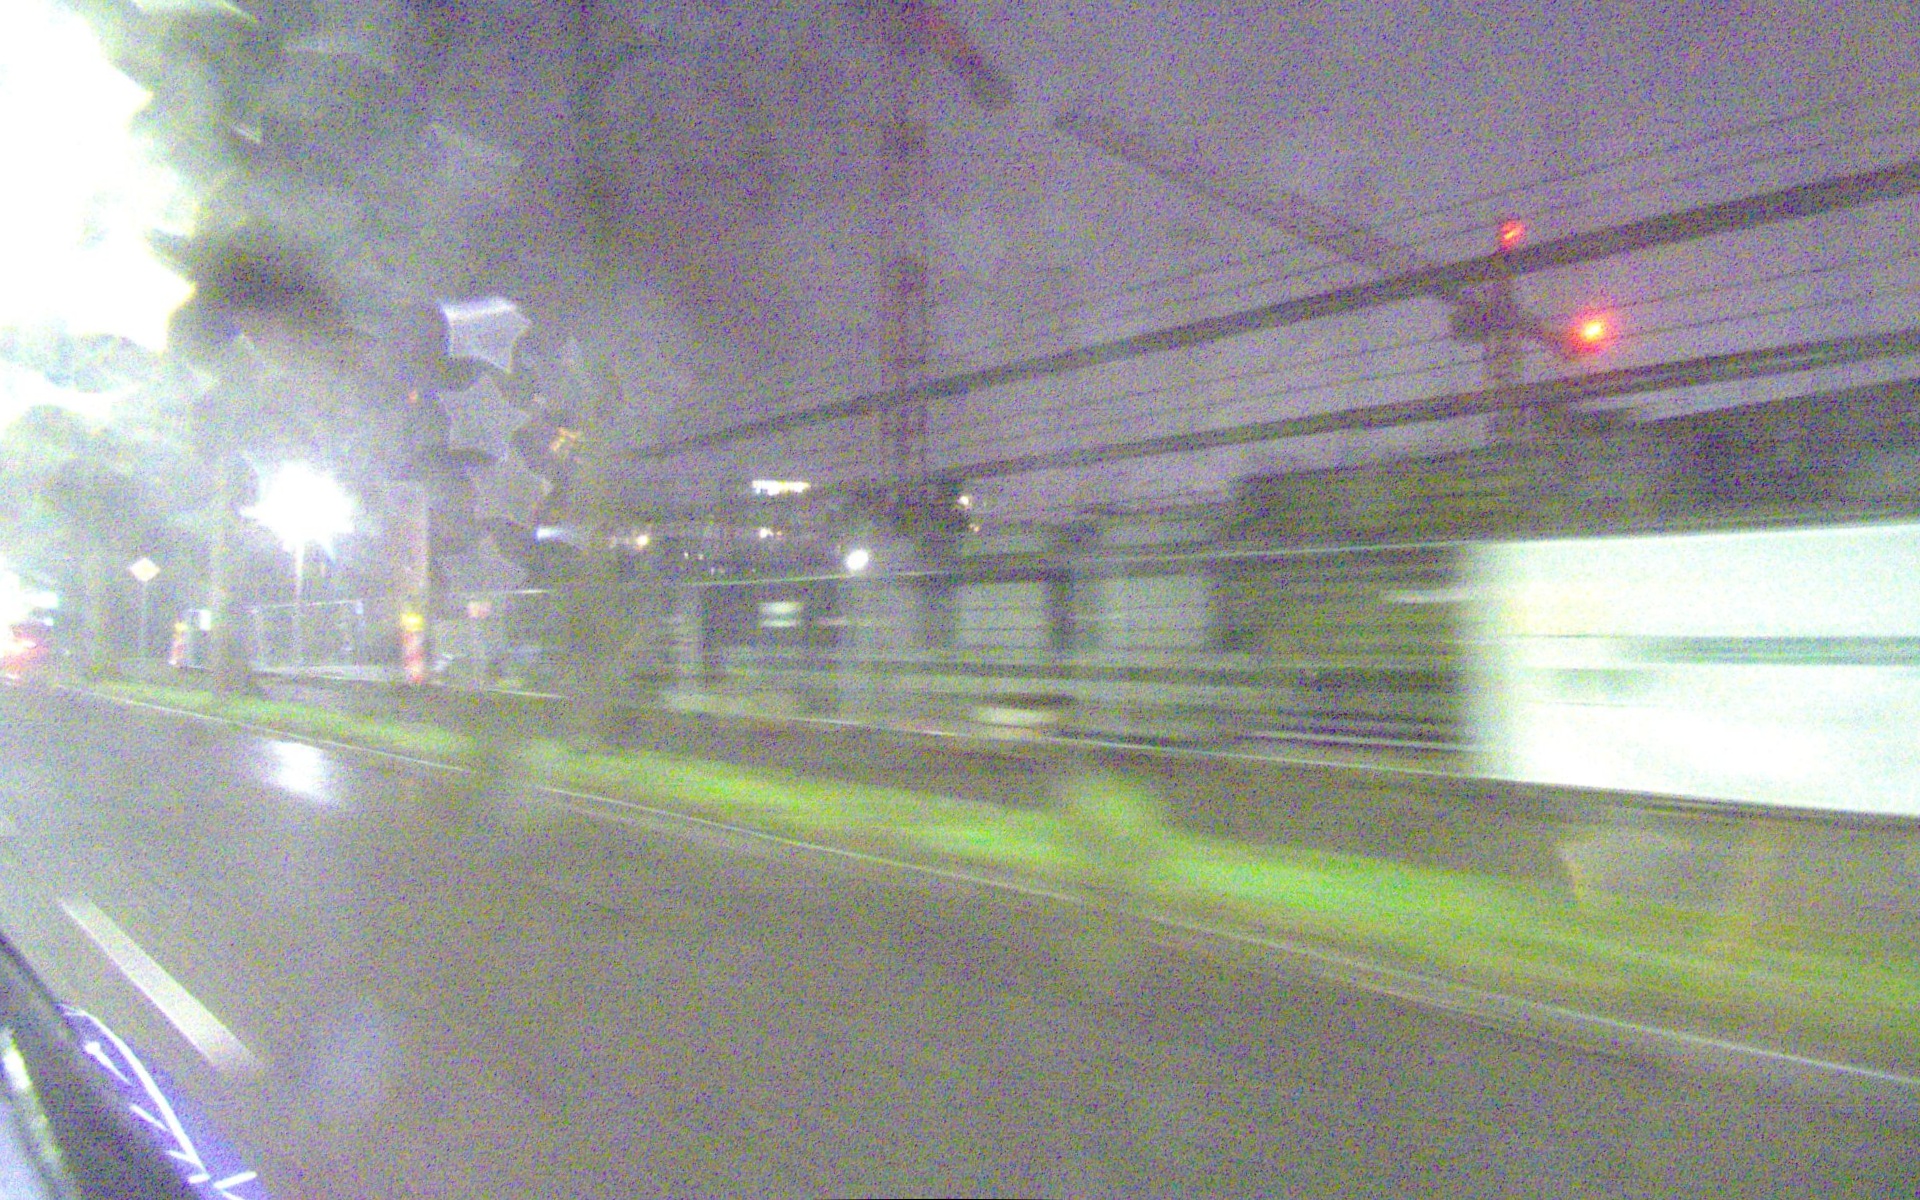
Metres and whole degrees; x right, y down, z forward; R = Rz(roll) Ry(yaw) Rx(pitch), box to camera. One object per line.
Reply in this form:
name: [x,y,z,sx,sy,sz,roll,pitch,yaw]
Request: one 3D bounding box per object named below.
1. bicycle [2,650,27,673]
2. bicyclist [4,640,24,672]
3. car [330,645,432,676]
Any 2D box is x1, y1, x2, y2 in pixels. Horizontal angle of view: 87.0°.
bicycle: [-48.379,3.135,51.769,2.312,1.170,0.623,-2,-4,40]
bicyclist: [-48.459,2.869,51.846,0.959,1.607,0.630,-6,-4,40]
car: [-28.040,2.937,49.097,4.028,1.381,1.495,4,-1,-44]
